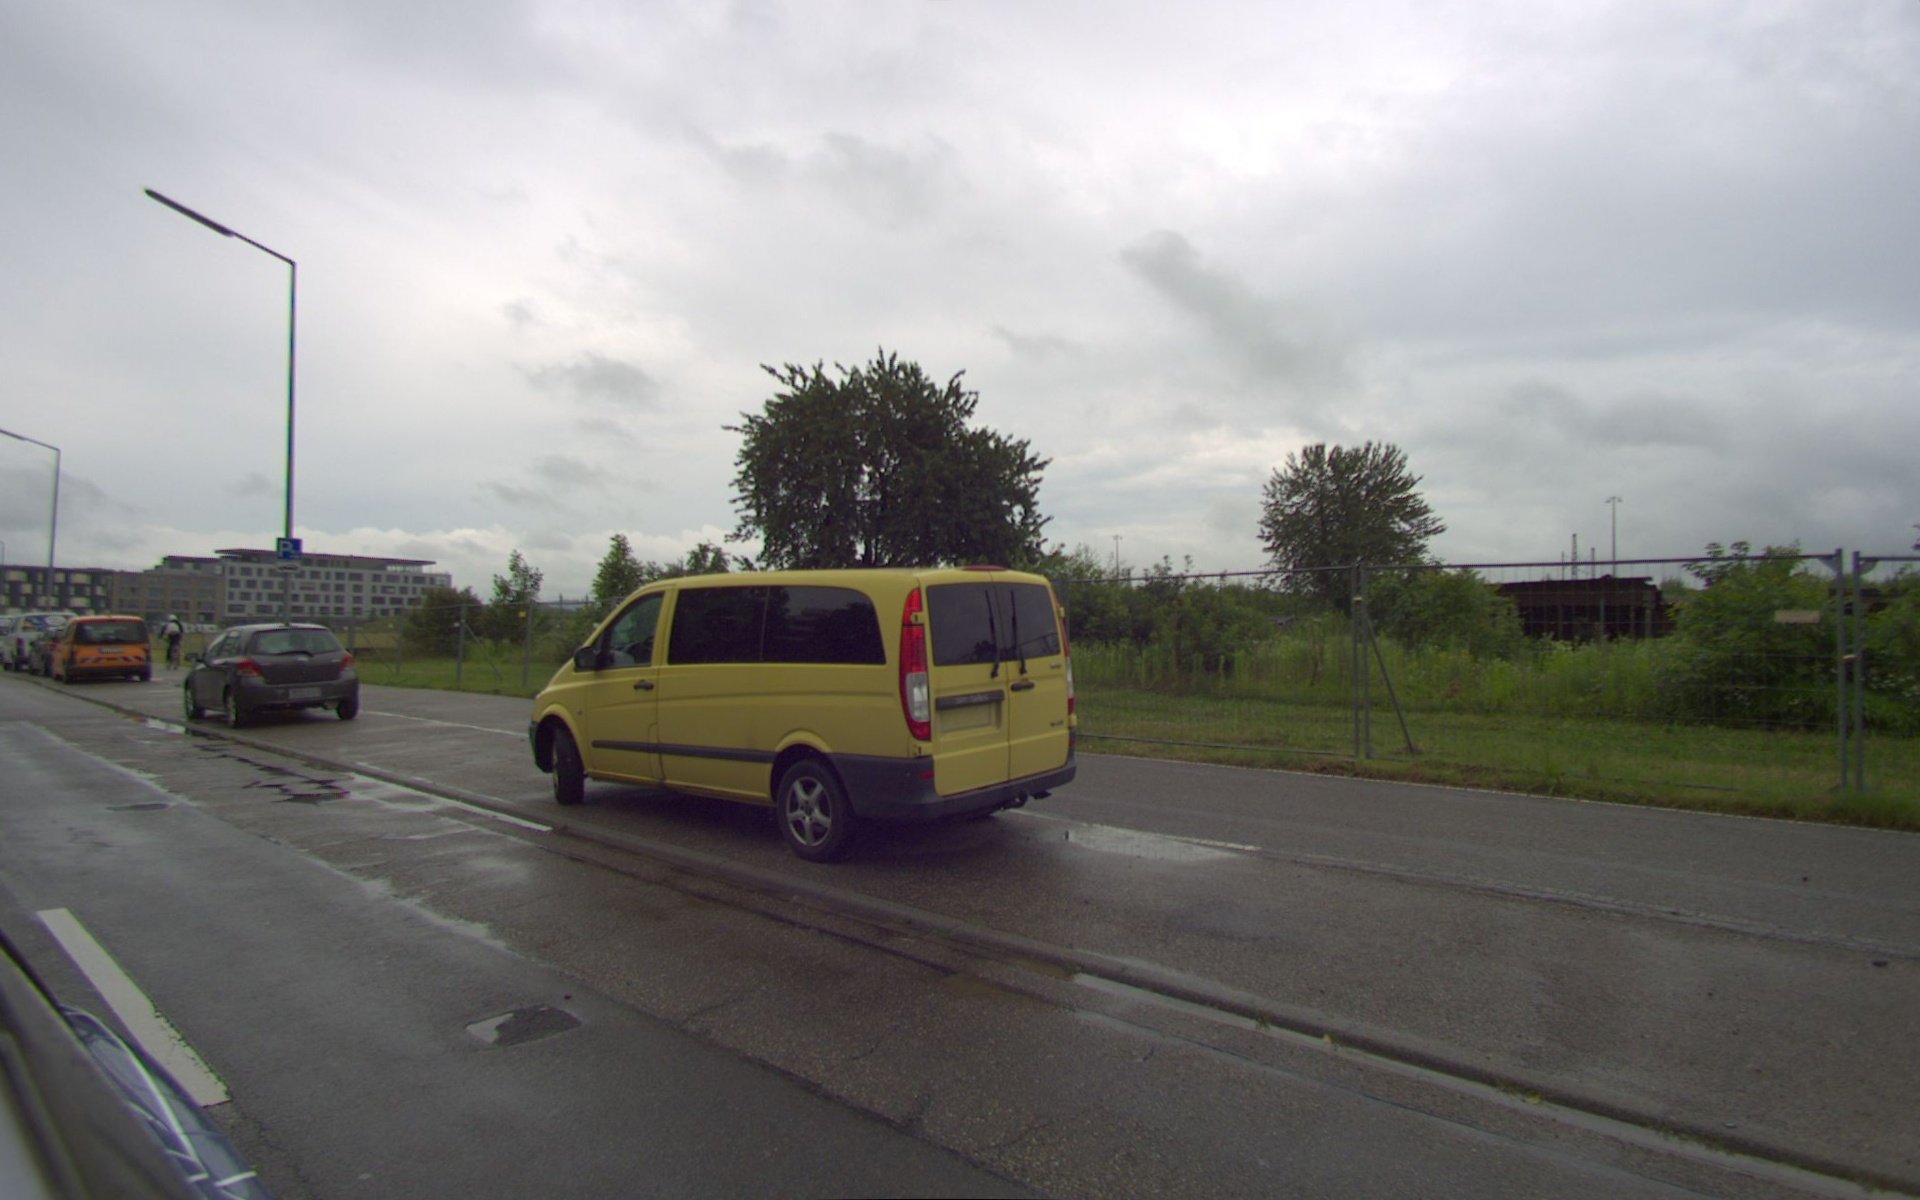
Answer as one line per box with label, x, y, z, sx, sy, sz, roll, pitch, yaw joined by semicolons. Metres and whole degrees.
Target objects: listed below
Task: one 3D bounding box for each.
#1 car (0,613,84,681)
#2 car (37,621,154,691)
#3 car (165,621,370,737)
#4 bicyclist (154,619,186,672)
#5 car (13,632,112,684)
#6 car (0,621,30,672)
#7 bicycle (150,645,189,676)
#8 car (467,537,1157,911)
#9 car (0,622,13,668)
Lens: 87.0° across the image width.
car;-32.868;1.657;35.884;5.554;2.253;1.922;-2;-3;41
car;-23.662;1.489;27.650;4.331;1.781;1.919;-2;-3;43
car;-11.250;1.193;16.332;4.031;1.573;1.785;-2;-1;41
bicyclist;-27.680;1.582;35.452;1.008;1.844;0.691;-2;-3;41
car;-28.168;1.766;31.709;4.889;1.513;1.666;-2;-3;41
car;-40.995;1.945;42.771;5.272;2.074;1.939;-2;-2;42
bicycle;-27.700;2.114;35.450;2.143;1.050;0.709;-2;-3;42
car;-1.605;0.709;8.093;6.062;1.971;1.996;-1;-1;41
car;-45.548;2.080;46.912;5.256;2.029;1.875;-2;-3;42
